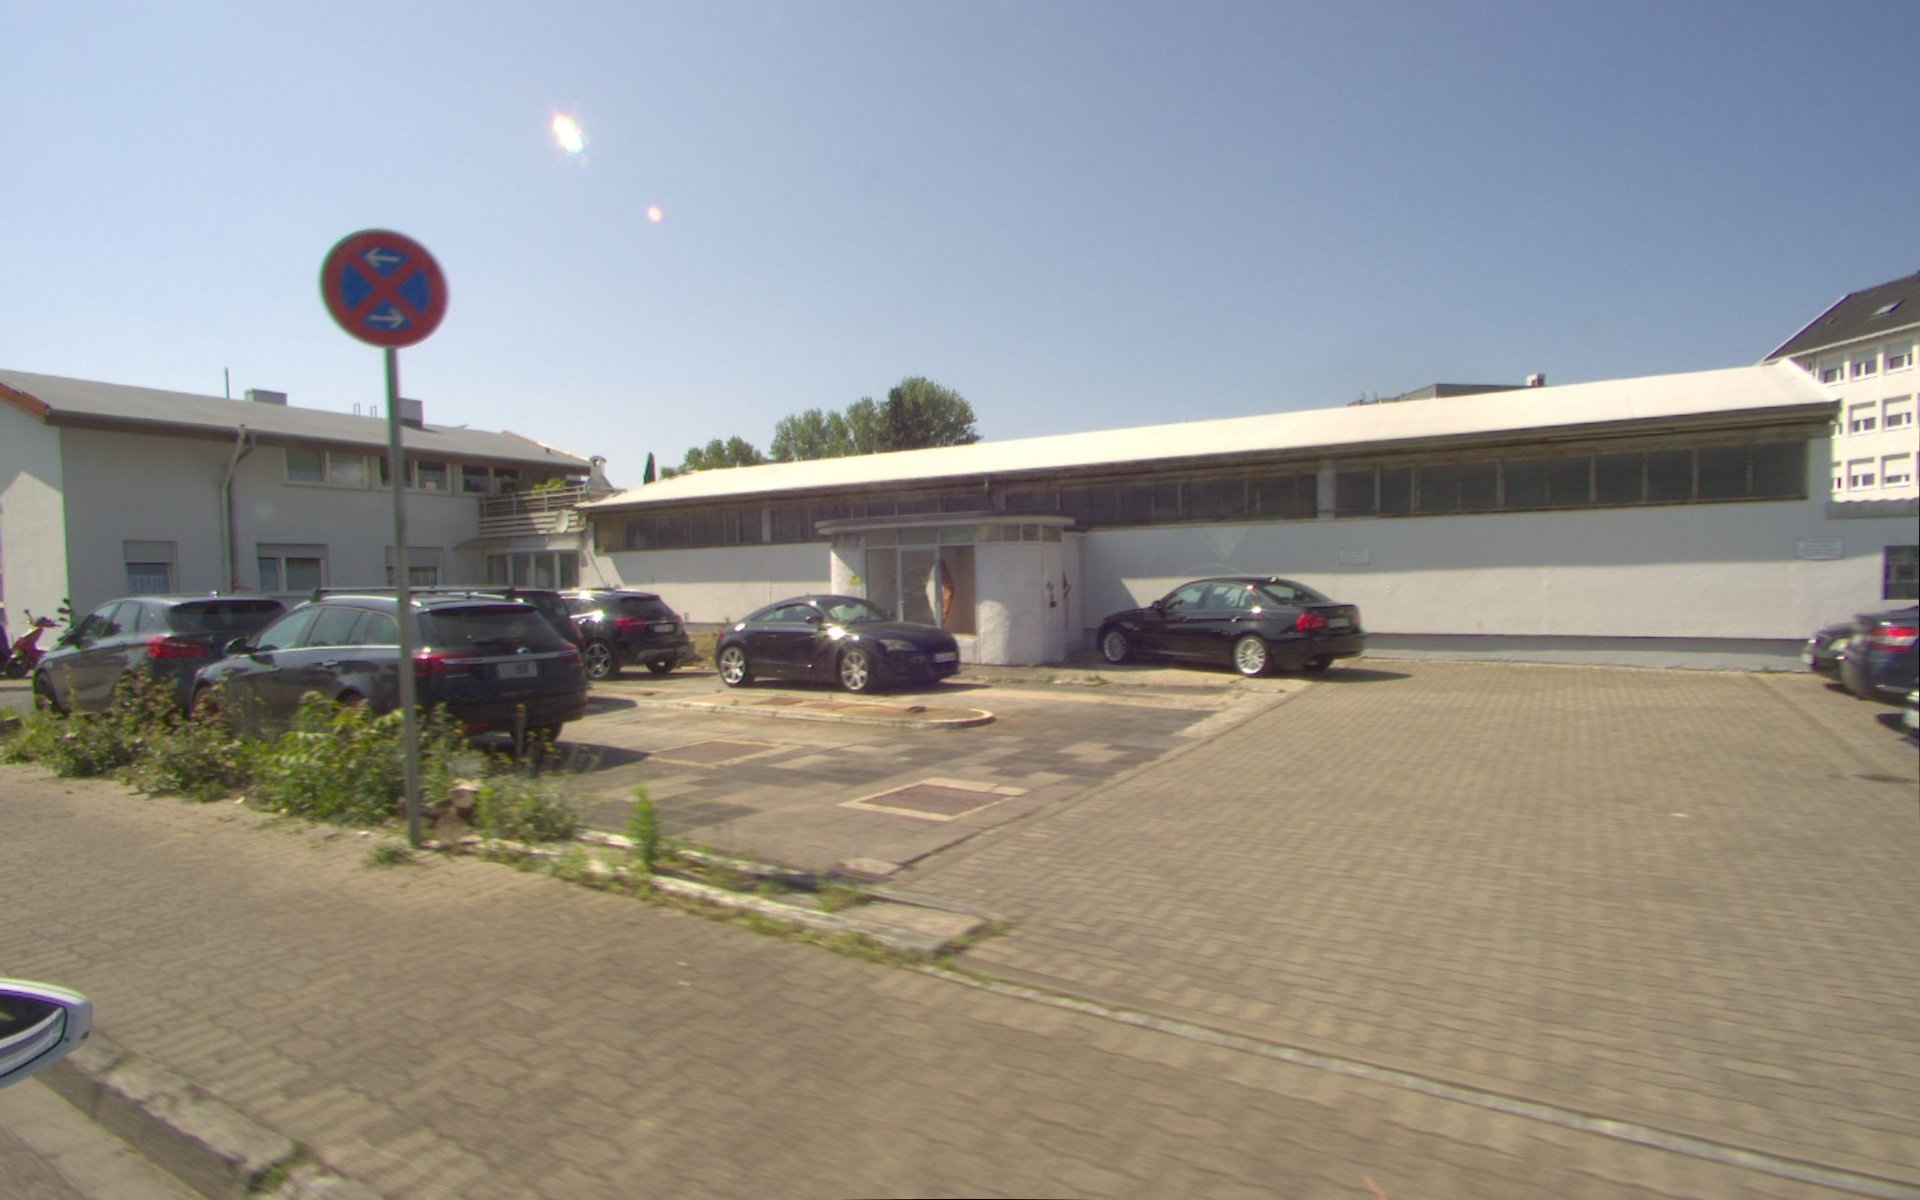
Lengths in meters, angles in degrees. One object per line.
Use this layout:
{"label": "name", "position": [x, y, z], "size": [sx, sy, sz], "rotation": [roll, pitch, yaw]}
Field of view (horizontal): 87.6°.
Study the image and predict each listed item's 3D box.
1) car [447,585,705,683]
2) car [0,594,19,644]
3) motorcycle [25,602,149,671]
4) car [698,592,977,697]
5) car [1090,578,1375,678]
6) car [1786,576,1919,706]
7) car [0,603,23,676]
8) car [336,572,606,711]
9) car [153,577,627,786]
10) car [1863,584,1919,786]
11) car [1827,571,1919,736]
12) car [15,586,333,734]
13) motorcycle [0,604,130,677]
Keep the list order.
{"label": "car", "position": [-6.766, 0.566, 17.681], "size": [4.078, 1.516, 1.760], "rotation": [-1, 2, 22]}
{"label": "car", "position": [-31.021, 0.645, 30.567], "size": [1.747, 1.561, 3.695], "rotation": [-1, 2, -16]}
{"label": "motorcycle", "position": [-18.328, 0.739, 21.071], "size": [0.783, 1.297, 1.749], "rotation": [0, 3, 23]}
{"label": "car", "position": [-1.879, 0.577, 14.834], "size": [4.045, 1.342, 1.636], "rotation": [0, 1, 35]}
{"label": "car", "position": [4.096, 0.366, 15.653], "size": [1.694, 1.342, 4.155], "rotation": [-2, 1, -37]}
{"label": "car", "position": [12.019, 0.434, 11.333], "size": [3.974, 1.412, 1.879], "rotation": [-1, 2, 36]}
{"label": "car", "position": [-20.010, 0.798, 18.771], "size": [1.649, 1.418, 3.245], "rotation": [0, 1, 32]}
{"label": "car", "position": [-6.599, 0.515, 13.421], "size": [3.570, 1.615, 1.755], "rotation": [0, -2, 36]}
{"label": "car", "position": [-5.618, 0.608, 9.670], "size": [4.879, 1.589, 1.854], "rotation": [0, 1, 32]}
{"label": "car", "position": [9.108, 0.600, 6.572], "size": [4.388, 1.461, 1.883], "rotation": [-1, 1, 29]}
{"label": "car", "position": [10.557, 0.455, 8.884], "size": [4.131, 1.461, 1.879], "rotation": [-1, 2, 36]}
{"label": "car", "position": [-10.052, 0.648, 12.739], "size": [4.230, 1.579, 1.807], "rotation": [0, 2, 32]}
{"label": "motorcycle", "position": [-17.871, 0.768, 19.935], "size": [0.784, 1.297, 1.865], "rotation": [0, 3, 29]}
